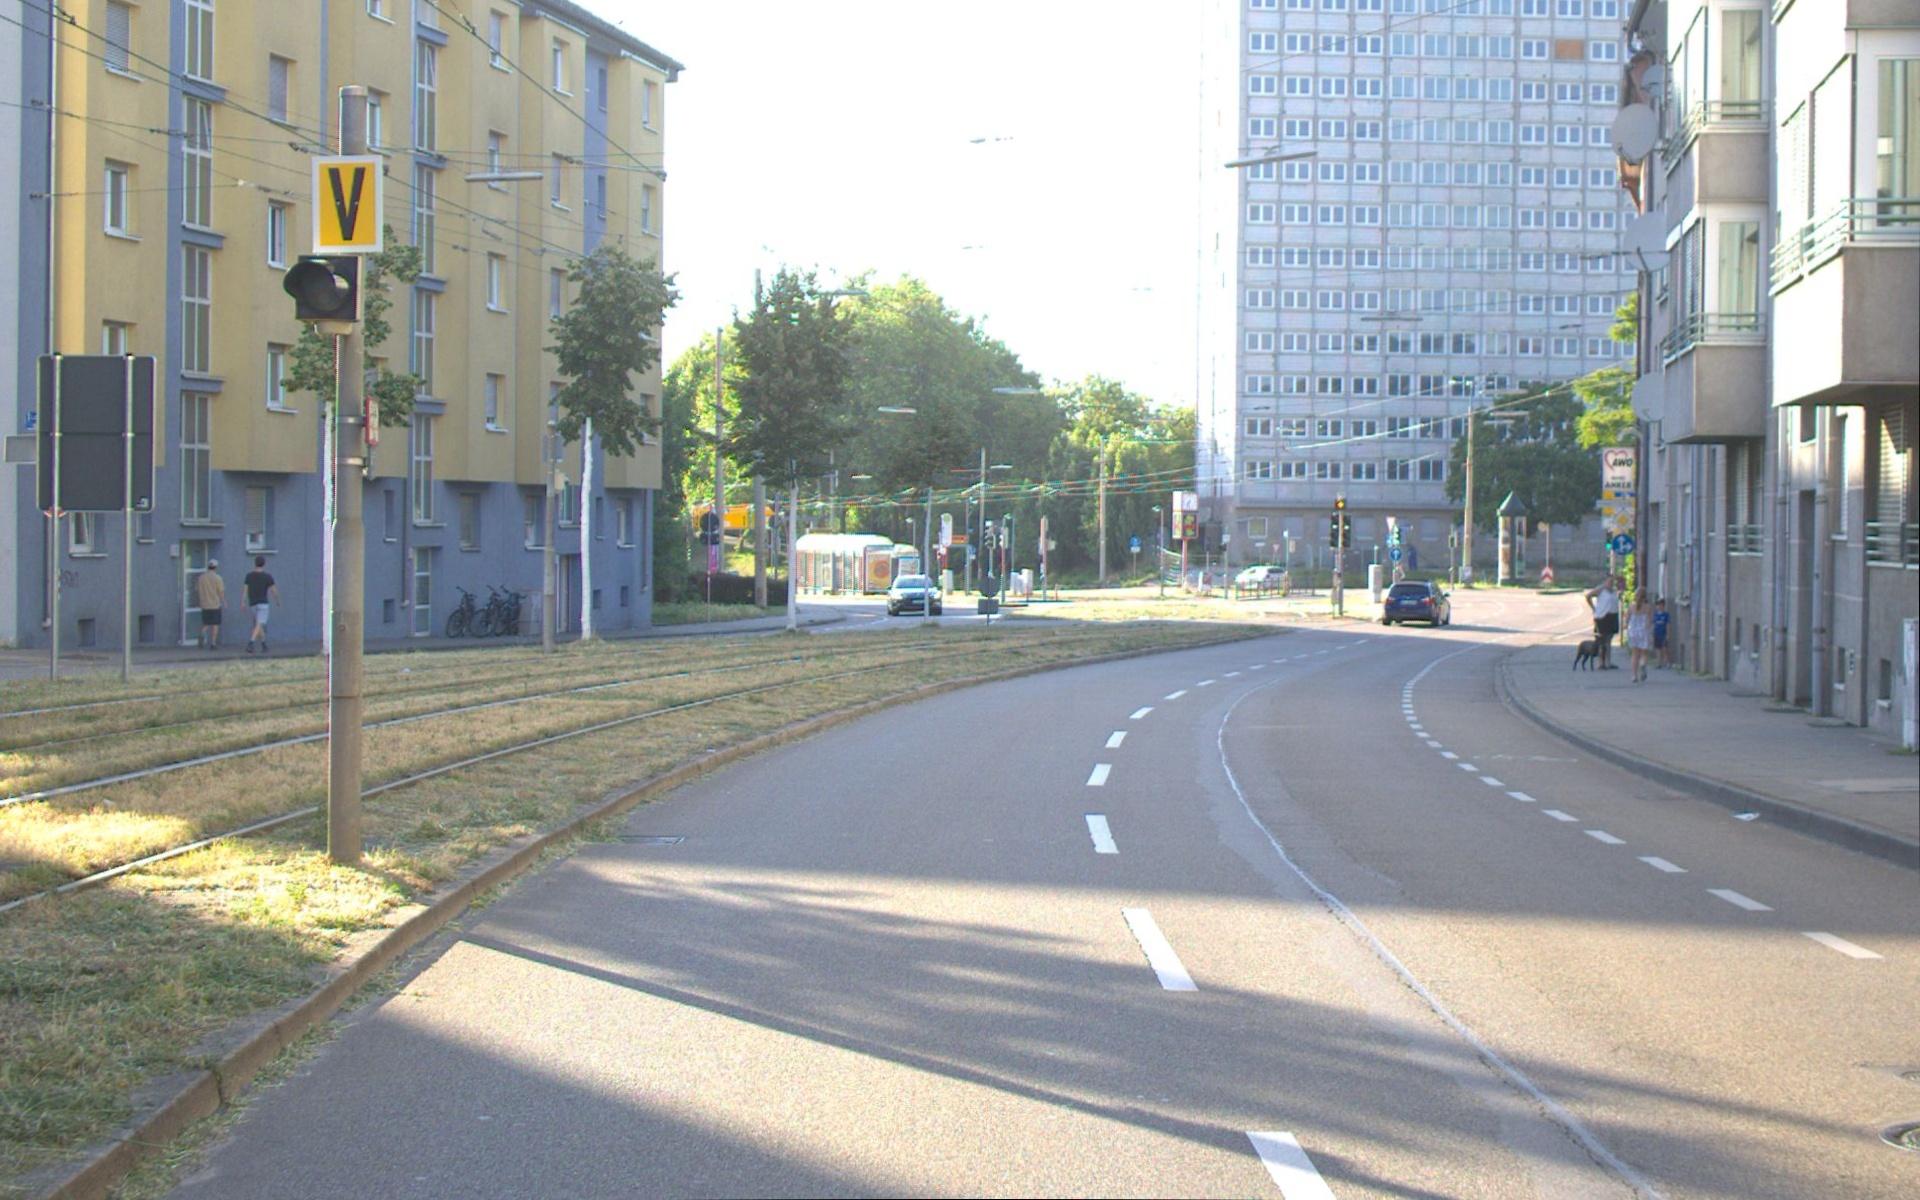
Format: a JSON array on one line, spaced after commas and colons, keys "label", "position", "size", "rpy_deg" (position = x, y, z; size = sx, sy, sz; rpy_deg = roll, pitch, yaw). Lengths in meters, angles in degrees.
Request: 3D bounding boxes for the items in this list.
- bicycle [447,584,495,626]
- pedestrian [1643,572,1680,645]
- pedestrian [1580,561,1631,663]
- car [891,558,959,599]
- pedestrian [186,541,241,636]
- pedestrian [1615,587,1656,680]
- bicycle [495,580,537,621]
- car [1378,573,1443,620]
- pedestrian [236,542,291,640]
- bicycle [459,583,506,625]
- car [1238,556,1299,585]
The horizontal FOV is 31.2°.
[{"label": "bicycle", "position": [-11.192, 0.111, 78.755], "size": [0.427, 0.922, 1.911], "rpy_deg": [5, 1, 11]}, {"label": "pedestrian", "position": [12.192, 0.142, 59.769], "size": [0.587, 1.247, 0.584], "rpy_deg": [1, 1, 9]}, {"label": "pedestrian", "position": [11.272, 0.204, 60.076], "size": [0.830, 1.765, 0.995], "rpy_deg": [1, 1, 9]}, {"label": "car", "position": [-1.294, -0.789, 128.619], "size": [1.794, 1.464, 4.794], "rpy_deg": [-1, 0, 8]}, {"label": "pedestrian", "position": [-13.777, -0.212, 63.450], "size": [0.616, 1.688, 0.706], "rpy_deg": [6, 2, 9]}, {"label": "pedestrian", "position": [9.790, 0.482, 49.841], "size": [0.514, 1.340, 0.609], "rpy_deg": [0, 0, 6]}, {"label": "bicycle", "position": [-10.655, 0.007, 82.548], "size": [0.427, 0.956, 1.911], "rpy_deg": [1, 1, 11]}, {"label": "car", "position": [14.229, -0.123, 108.496], "size": [1.773, 1.417, 3.854], "rpy_deg": [1, 1, 11]}, {"label": "pedestrian", "position": [-12.941, -0.169, 63.893], "size": [0.593, 1.767, 0.885], "rpy_deg": [6, 2, 9]}, {"label": "bicycle", "position": [-11.110, 0.083, 80.033], "size": [0.427, 0.922, 1.911], "rpy_deg": [5, 1, 11]}, {"label": "car", "position": [16.885, -1.626, 188.403], "size": [1.993, 1.525, 4.001], "rpy_deg": [0, 1, -16]}]
